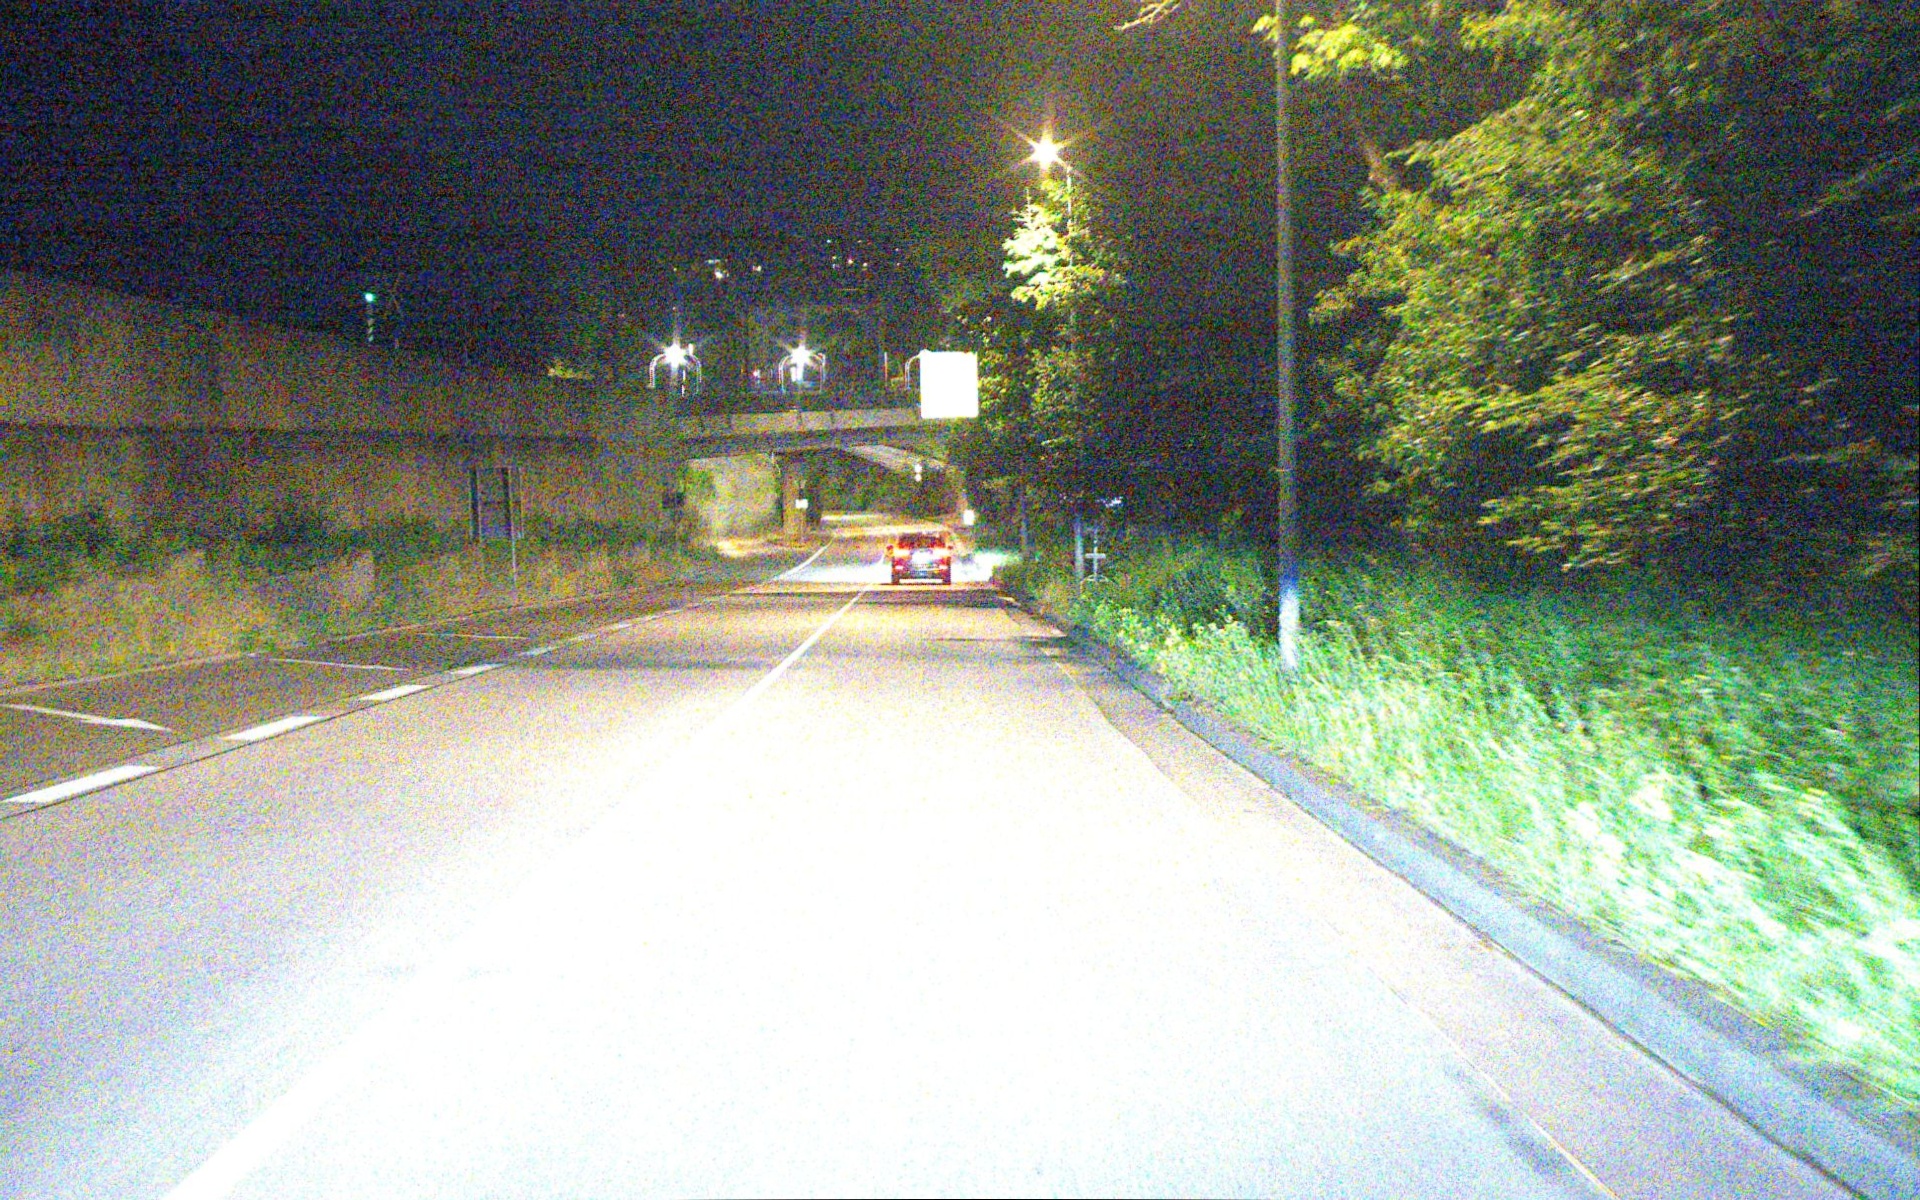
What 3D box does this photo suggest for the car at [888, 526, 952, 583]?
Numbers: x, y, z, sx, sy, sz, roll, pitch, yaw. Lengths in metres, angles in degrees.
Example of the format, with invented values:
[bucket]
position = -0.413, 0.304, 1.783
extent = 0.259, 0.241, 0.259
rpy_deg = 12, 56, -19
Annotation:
[car]
position = -1.211, -1.402, 104.624
extent = 1.763, 1.636, 3.723
rpy_deg = 0, 2, 2
